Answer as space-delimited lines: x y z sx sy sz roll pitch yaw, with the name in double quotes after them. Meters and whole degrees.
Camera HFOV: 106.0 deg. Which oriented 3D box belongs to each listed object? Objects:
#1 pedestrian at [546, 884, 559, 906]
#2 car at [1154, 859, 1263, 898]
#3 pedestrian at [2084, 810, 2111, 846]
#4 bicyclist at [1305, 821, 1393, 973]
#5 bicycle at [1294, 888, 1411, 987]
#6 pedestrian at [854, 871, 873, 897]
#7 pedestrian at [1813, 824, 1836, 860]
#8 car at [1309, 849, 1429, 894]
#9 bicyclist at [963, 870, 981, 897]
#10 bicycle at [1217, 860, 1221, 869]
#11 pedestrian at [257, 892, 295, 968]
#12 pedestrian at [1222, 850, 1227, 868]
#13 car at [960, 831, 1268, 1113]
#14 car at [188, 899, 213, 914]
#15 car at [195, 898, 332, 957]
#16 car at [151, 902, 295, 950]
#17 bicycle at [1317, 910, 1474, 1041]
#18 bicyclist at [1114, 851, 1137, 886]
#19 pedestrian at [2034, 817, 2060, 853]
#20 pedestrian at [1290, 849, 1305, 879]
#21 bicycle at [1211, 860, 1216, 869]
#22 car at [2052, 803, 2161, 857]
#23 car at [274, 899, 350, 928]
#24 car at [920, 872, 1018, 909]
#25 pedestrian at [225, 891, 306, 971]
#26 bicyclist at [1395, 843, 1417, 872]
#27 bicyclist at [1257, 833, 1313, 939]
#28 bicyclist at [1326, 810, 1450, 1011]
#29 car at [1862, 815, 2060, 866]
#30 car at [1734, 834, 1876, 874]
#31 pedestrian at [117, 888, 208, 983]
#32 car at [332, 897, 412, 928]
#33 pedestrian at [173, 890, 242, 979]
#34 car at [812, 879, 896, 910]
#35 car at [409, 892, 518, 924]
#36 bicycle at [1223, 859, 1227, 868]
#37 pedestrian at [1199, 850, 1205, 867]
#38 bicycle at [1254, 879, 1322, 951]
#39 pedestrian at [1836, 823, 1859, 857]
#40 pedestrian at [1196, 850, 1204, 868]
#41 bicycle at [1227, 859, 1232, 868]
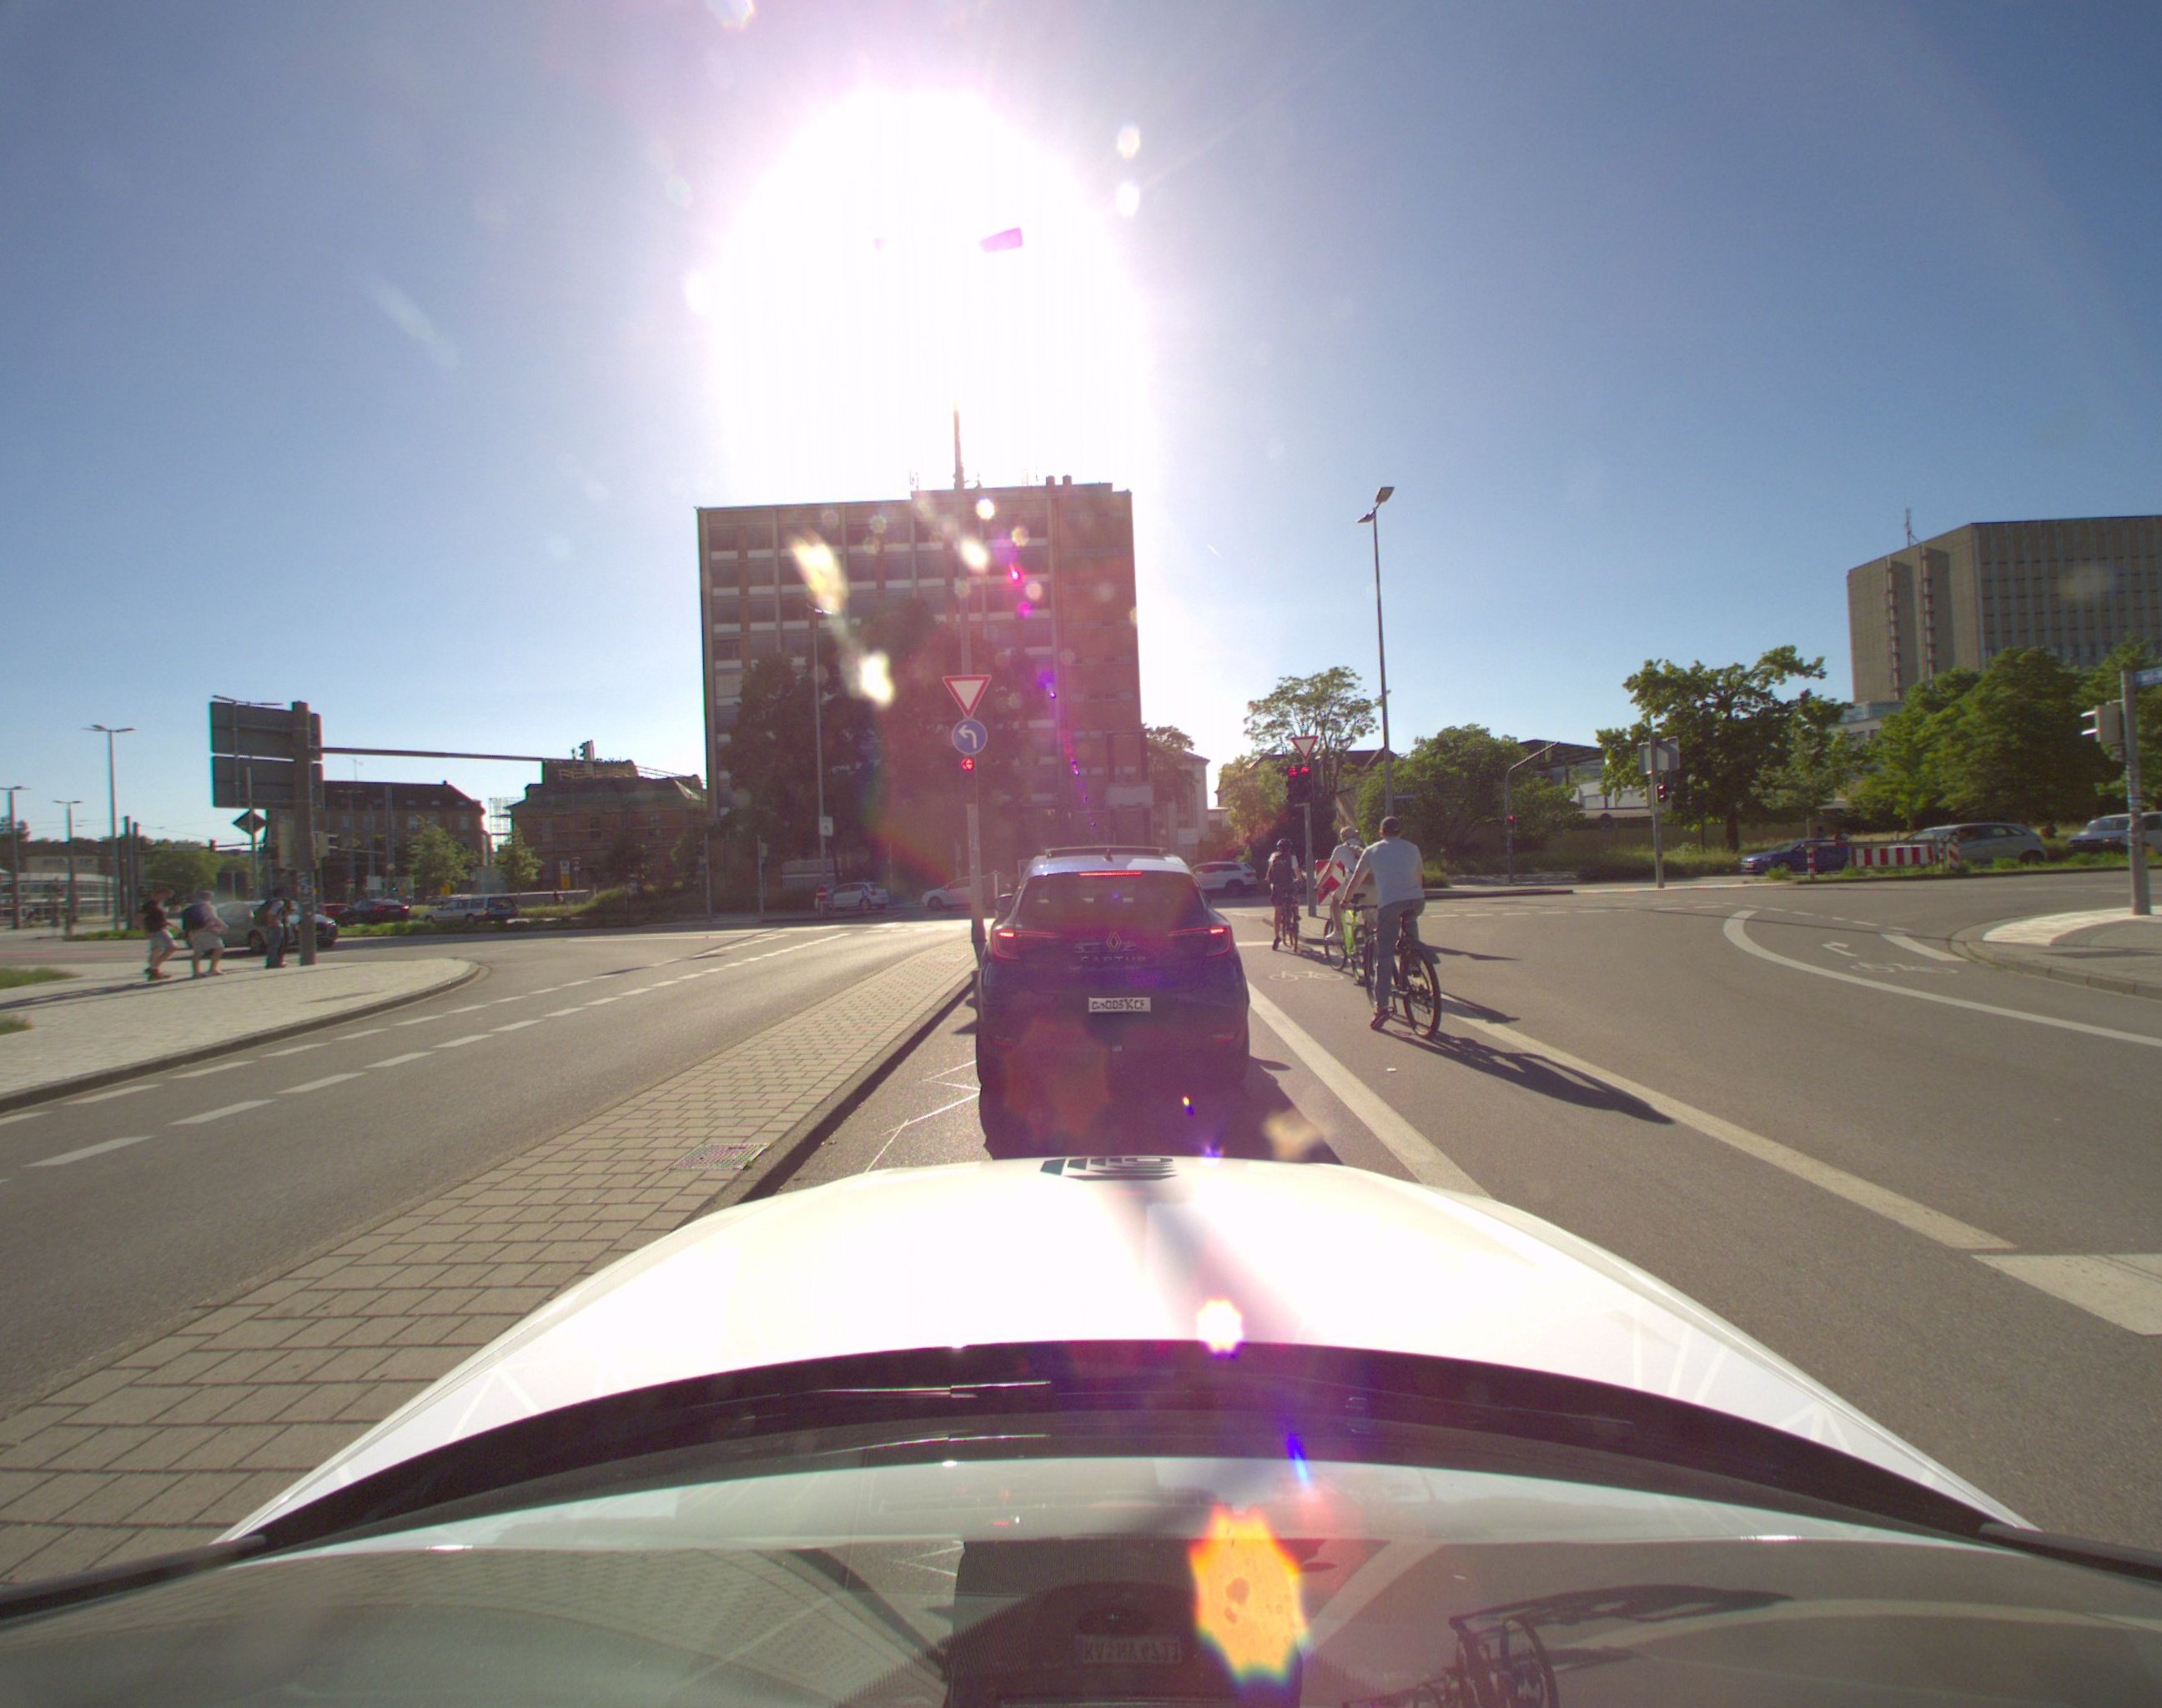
-40.529 3.163 62.487 0.541 1.615 0.653 -3 -1 41 "pedestrian"
5.943 1.124 37.735 4.790 1.632 1.851 -2 -1 13 "car"
49.788 -1.277 39.876 0.559 1.695 0.528 -3 -1 5 "pedestrian"
3.214 0.492 9.856 0.644 1.739 1.065 0 -1 -4 "bicyclist"
3.213 0.953 9.858 0.657 1.003 1.967 0 -1 -4 "bicycle"
-13.646 1.889 51.175 0.853 1.571 0.561 -5 -1 14 "pedestrian"
36.629 -0.585 40.102 0.559 1.695 0.528 -3 -1 5 "pedestrian"
11.659 0.720 33.271 4.344 1.632 1.850 -2 -1 11 "car"
-5.890 1.593 44.059 0.741 1.441 0.593 -2 -1 -25 "bicyclist"
15.875 1.220 93.828 0.403 0.973 1.686 0 -1 6 "bicycle"
-19.212 1.794 19.441 0.600 1.729 0.572 -2 -1 -45 "pedestrian"
16.213 0.599 92.189 0.473 2.014 0.469 -2 -1 8 "pedestrian"
0.202 0.706 6.808 1.798 1.632 3.999 -1 0 0 "car"
-123.142 7.336 113.875 3.948 2.013 2.013 -3 -1 38 "car"
-25.648 2.313 25.524 4.203 1.581 1.805 -4 0 28 "car"
-33.824 2.827 32.145 4.652 1.619 1.851 -4 -3 14 "car"
2.719 1.011 7.302 0.737 0.896 1.980 0 -1 3 "bicycle"
2.398 0.780 44.105 1.094 1.867 0.655 -2 -1 12 "bicyclist"
47.330 -0.918 39.905 0.559 1.695 0.528 -3 -1 5 "pedestrian"
11.874 0.538 44.641 0.732 1.603 0.601 -3 -1 14 "pedestrian"
15.257 1.225 93.886 0.403 0.973 1.686 0 -1 6 "bicycle"
43.176 -0.972 33.045 4.855 2.107 2.003 0 -1 5 "car"
-48.489 3.765 51.366 4.334 1.632 1.854 -2 0 23 "car"
-4.858 1.594 35.606 3.811 1.435 1.748 -2 -1 11 "car"
-18.190 1.699 18.184 0.900 1.690 0.839 -4 -3 -3 "pedestrian"
16.761 0.170 42.022 0.931 1.429 0.600 -3 -1 10 "bicyclist"
3.237 0.498 12.993 0.722 1.629 0.970 0 -1 6 "bicyclist"
2.712 0.474 7.301 0.748 1.668 1.017 0 -1 3 "bicyclist"
28.137 -0.404 26.173 4.025 1.408 1.872 -2 -1 8 "car"
29.994 0.019 33.843 4.143 1.435 1.746 -2 -1 6 "car"
-18.630 1.634 16.528 0.696 1.800 1.110 -6 -3 33 "pedestrian"
-42.579 3.527 48.906 4.334 1.632 1.854 -3 -1 23 "car"
-17.754 1.627 16.549 0.784 1.690 0.794 -6 -3 32 "pedestrian"
-11.774 2.090 42.308 3.807 1.435 1.750 -3 -2 15 "car"
-31.006 2.718 40.912 4.845 1.388 1.853 -3 -1 18 "car"
16.653 1.074 94.178 0.403 0.973 1.686 0 -1 6 "bicycle"
13.612 0.506 91.613 0.609 1.856 0.468 -2 -1 7 "pedestrian"
3.247 0.925 12.940 0.735 0.995 2.177 0 -1 6 "bicycle"
38.354 -0.686 40.741 0.558 1.695 0.529 -3 -1 10 "pedestrian"
13.042 0.550 89.475 0.623 1.856 0.561 -2 -1 -8 "pedestrian"
17.187 1.070 94.179 0.403 0.973 1.686 0 -1 6 "bicycle"
